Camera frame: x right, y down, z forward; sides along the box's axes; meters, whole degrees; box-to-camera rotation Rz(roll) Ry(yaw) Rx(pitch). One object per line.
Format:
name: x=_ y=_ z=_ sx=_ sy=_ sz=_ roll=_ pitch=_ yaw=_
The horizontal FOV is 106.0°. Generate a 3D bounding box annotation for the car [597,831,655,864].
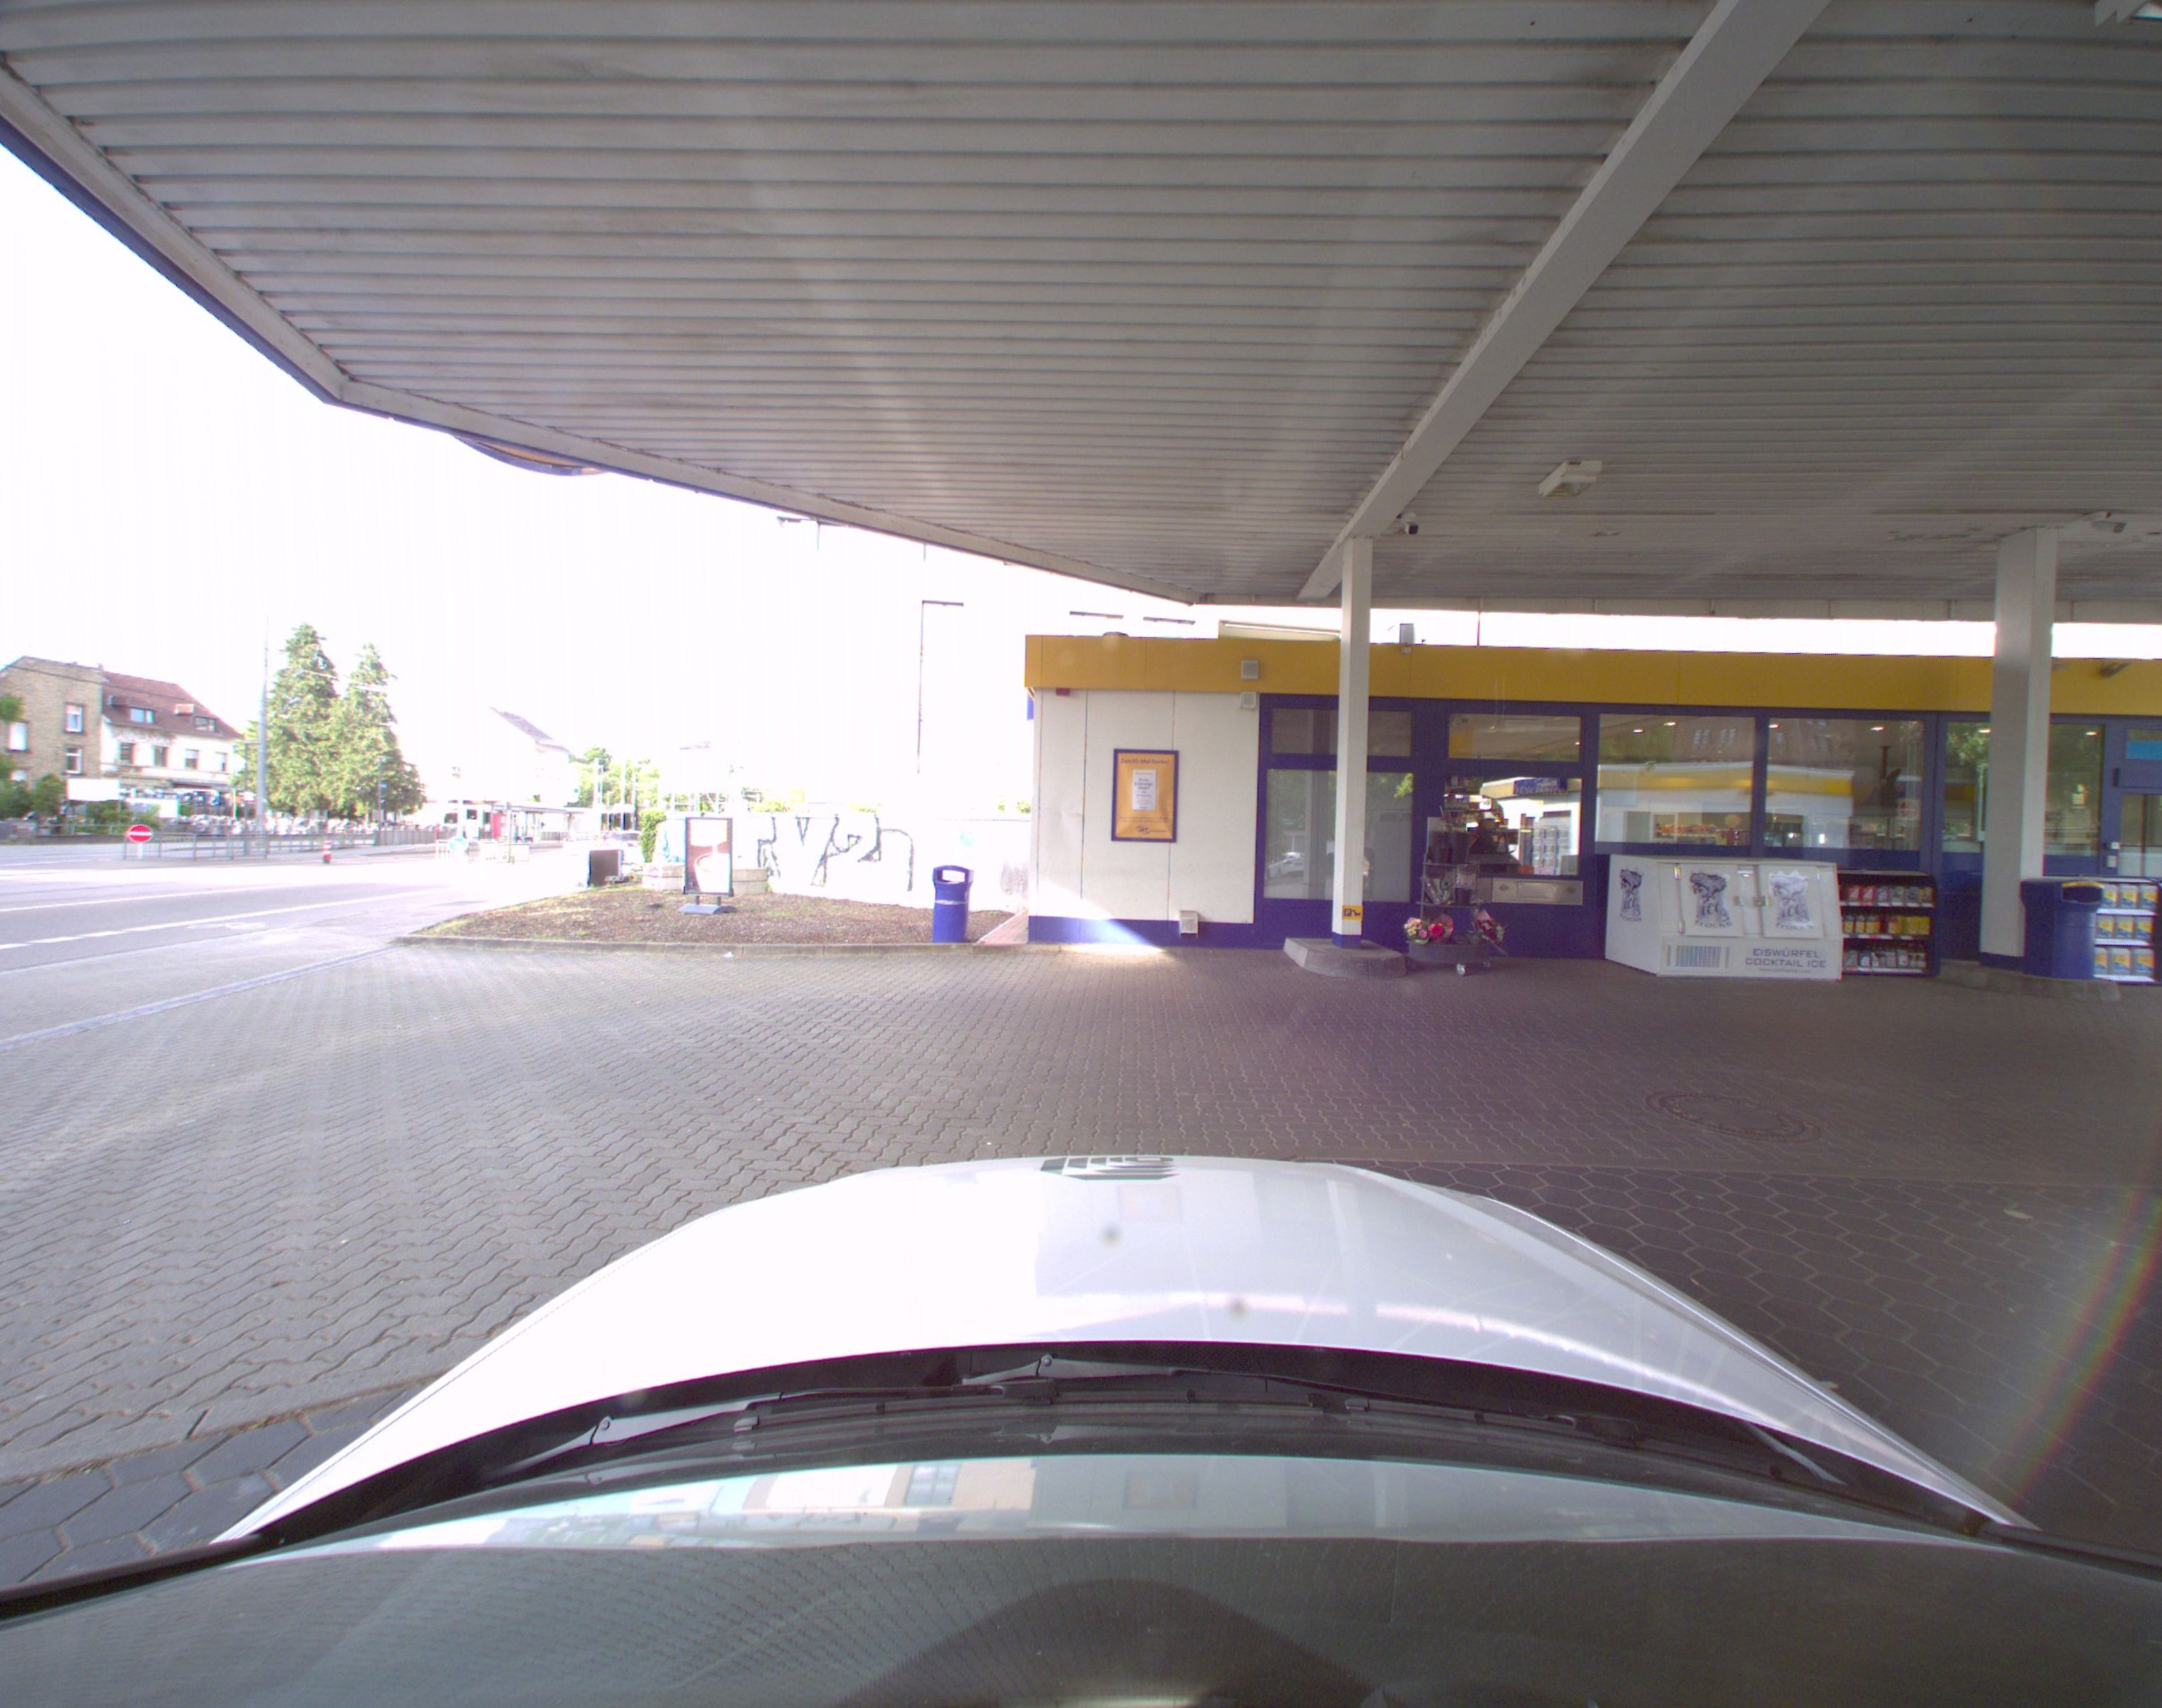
car: x=-23.193 y=-0.377 z=41.651 sx=1.670 sy=1.547 sz=3.692 roll=2 pitch=1 yaw=-15
